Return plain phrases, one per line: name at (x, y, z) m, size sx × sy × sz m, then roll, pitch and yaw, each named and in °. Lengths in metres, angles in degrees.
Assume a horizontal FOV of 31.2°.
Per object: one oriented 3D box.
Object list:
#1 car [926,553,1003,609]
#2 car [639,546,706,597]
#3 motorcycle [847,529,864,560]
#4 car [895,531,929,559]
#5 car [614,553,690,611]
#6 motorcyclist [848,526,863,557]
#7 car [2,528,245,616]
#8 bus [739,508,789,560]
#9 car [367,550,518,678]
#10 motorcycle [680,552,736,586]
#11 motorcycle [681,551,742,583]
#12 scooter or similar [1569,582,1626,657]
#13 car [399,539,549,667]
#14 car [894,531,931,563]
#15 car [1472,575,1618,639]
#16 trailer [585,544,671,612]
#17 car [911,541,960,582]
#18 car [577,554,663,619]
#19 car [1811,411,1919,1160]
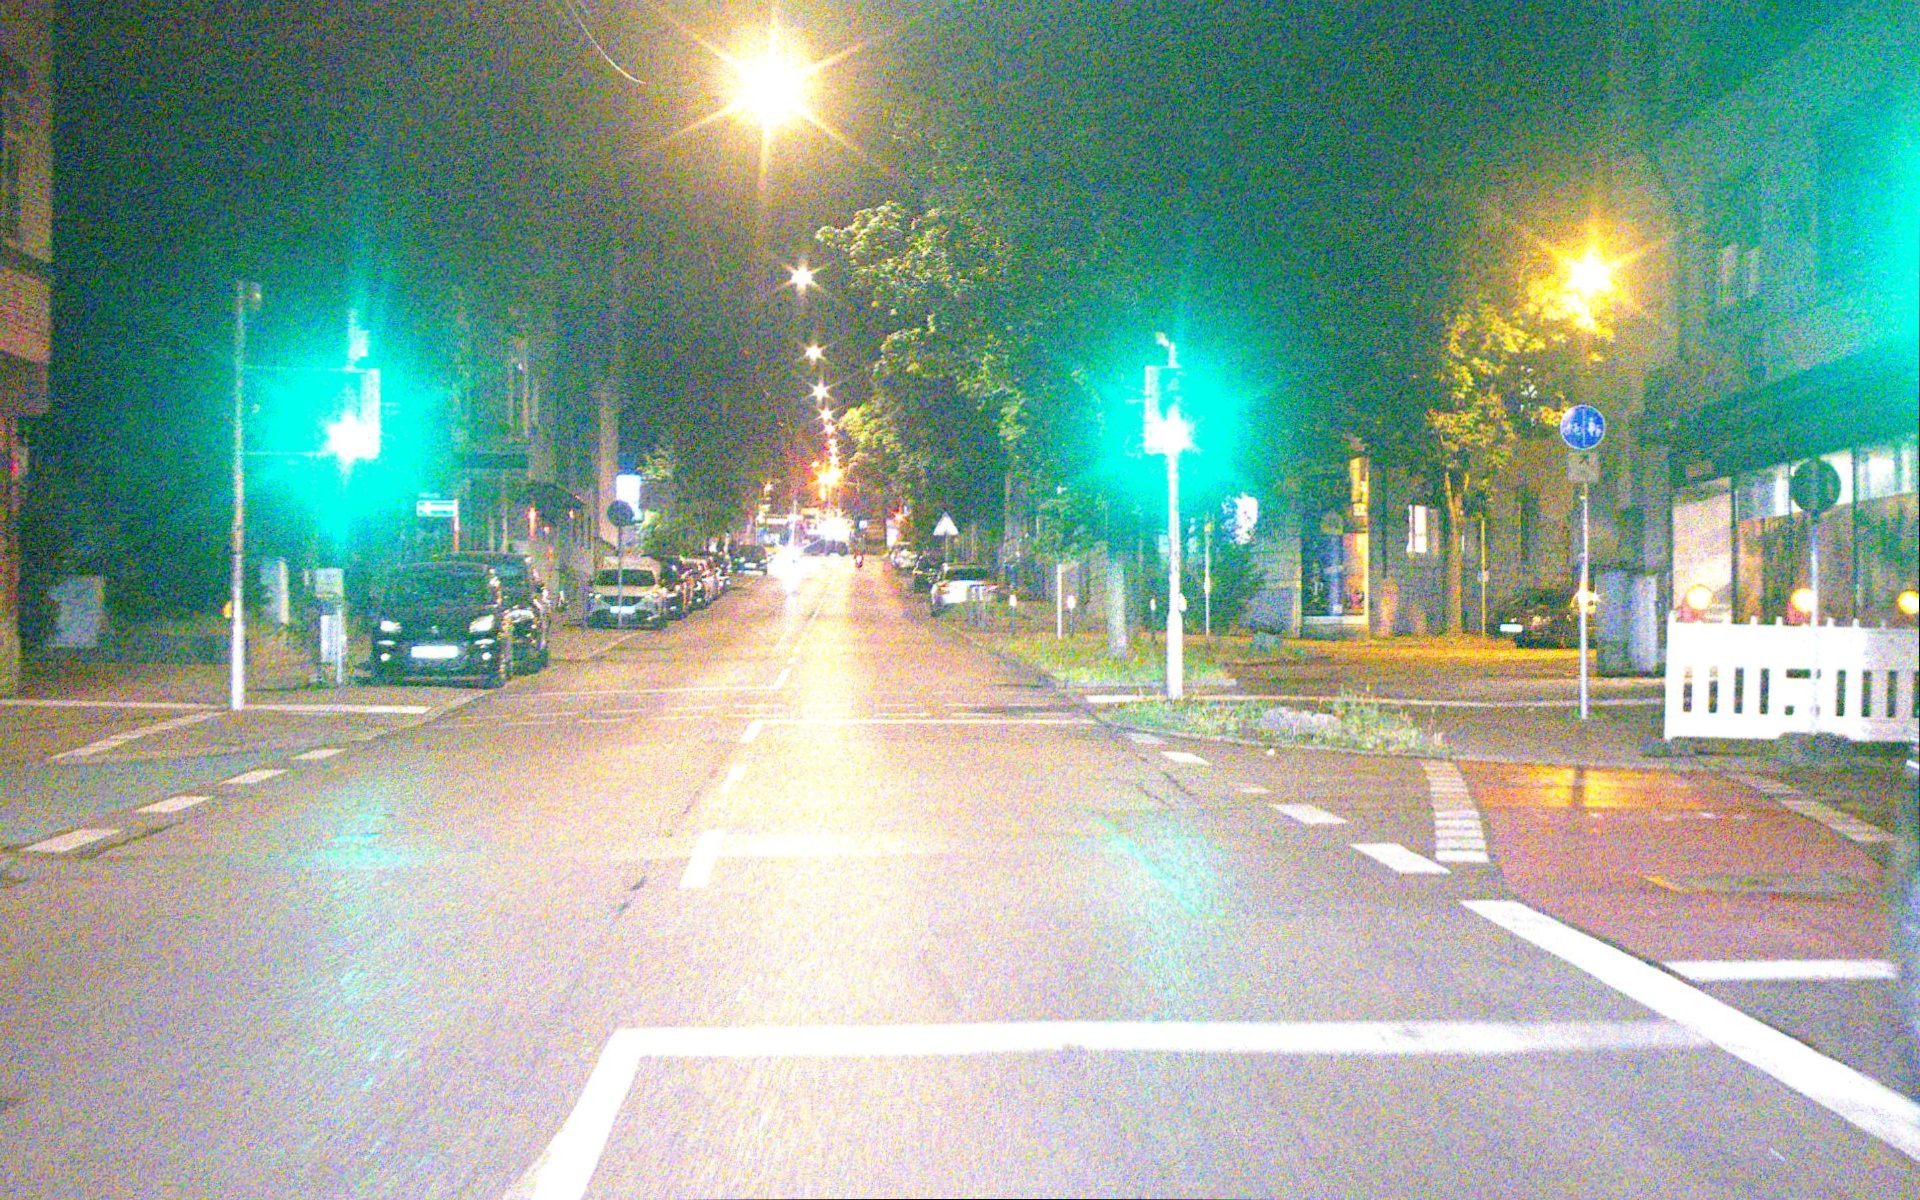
car at (0.106, -0.524, 94.408) m, size 1.845 × 1.412 × 4.646 m, roll -3°, pitch 1°, yaw -2°
car at (-8.758, -0.858, 105.003) m, size 1.863 × 1.486 × 4.281 m, roll 1°, pitch 0°, yaw -3°
motorcycle at (-5.889, -3.118, 193.936) m, size 0.931 × 1.746 × 2.625 m, roll 1°, pitch 0°, yaw -2°
car at (-2.739, -3.128, 194.972) m, size 1.868 × 1.521 × 4.150 m, roll -1°, pitch 2°, yaw -2°
car at (-8.164, -0.500, 91.354) m, size 1.835 × 1.442 × 4.545 m, roll 0°, pitch 1°, yaw -3°
motorcyclist at (-5.888, -3.299, 193.936) m, size 0.848 × 1.746 × 0.805 m, roll 1°, pitch 0°, yaw -2°
car at (-15.629, -0.520, 64.324) m, size 3.988 × 1.420 × 1.761 m, roll 3°, pitch 1°, yaw 8°
bus at (-12.474, -4.230, 219.315) m, size 2.837 × 3.166 × 10.500 m, roll 1°, pitch 1°, yaw -2°
car at (-6.465, 0.149, 43.220) m, size 1.647 × 1.509 × 3.703 m, roll 1°, pitch 0°, yaw -5°
motorcycle at (-8.928, -1.098, 121.633) m, size 0.714 × 1.143 × 2.208 m, roll -2°, pitch 2°, yaw -44°
motorcycle at (-8.941, -1.175, 123.651) m, size 2.205 × 1.127 × 0.714 m, roll 1°, pitch 2°, yaw 31°
scooter or similar at (9.945, 0.298, 53.639) m, size 0.499 × 1.142 × 1.664 m, roll -2°, pitch -1°, yaw 23°
car at (-6.817, -0.002, 48.612) m, size 1.848 × 1.644 × 4.672 m, roll 1°, pitch 1°, yaw -5°
car at (-2.518, -2.825, 181.702) m, size 1.812 × 1.588 × 4.274 m, roll -1°, pitch 2°, yaw -2°
car at (13.562, 0.167, 79.540) m, size 1.800 × 1.412 × 3.829 m, roll 1°, pitch 0°, yaw 36°
trailer at (-8.223, -0.542, 85.389) m, size 1.638 × 1.634 × 3.439 m, roll 1°, pitch 0°, yaw 3°
car at (-0.970, -1.490, 132.832) m, size 1.763 × 1.471 × 4.081 m, roll -1°, pitch 2°, yaw -1°
car at (-7.963, -0.342, 80.776) m, size 1.814 × 1.479 × 4.348 m, roll 0°, pitch 1°, yaw -3°
car at (3.408, 0.475, 6.803) m, size 1.910 × 1.820 × 4.901 m, roll 0°, pitch 1°, yaw -4°
